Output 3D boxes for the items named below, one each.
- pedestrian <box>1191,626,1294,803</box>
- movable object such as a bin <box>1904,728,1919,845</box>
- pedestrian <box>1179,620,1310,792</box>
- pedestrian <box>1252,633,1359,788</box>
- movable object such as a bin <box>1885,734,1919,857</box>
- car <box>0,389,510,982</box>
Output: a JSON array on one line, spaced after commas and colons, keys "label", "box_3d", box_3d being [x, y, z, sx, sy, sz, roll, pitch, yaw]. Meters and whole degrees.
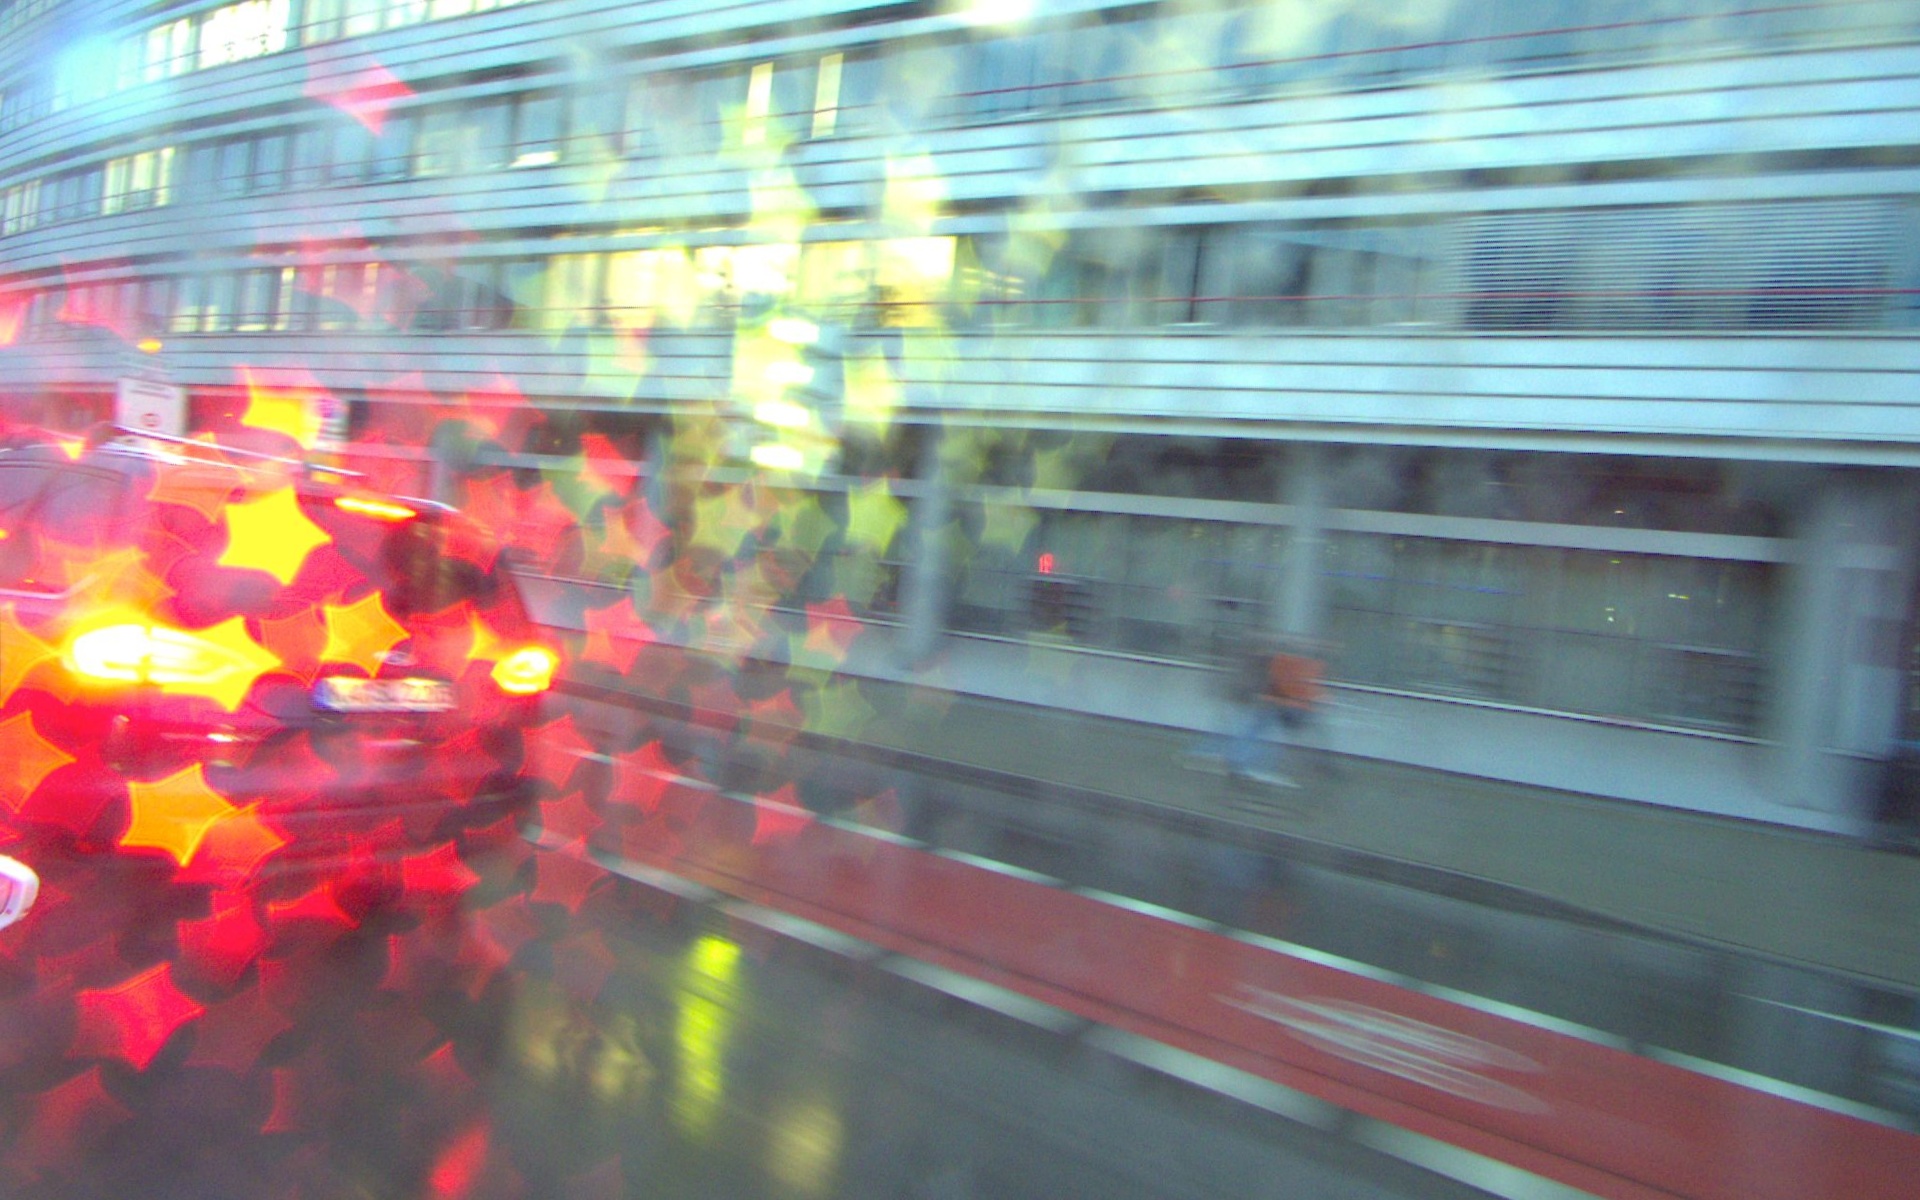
[{"label": "pedestrian", "box_3d": [2.941, 1.166, 10.462, 0.732, 1.703, 0.531, 7, 0, 31]}, {"label": "movable object such as a bin", "box_3d": [12.211, 2.336, 11.996, 1.060, 1.401, 0.730, 7, 2, 21]}, {"label": "pedestrian", "box_3d": [3.164, 1.144, 11.167, 1.051, 1.706, 0.794, 7, 0, 31]}, {"label": "pedestrian", "box_3d": [4.066, 1.276, 11.828, 0.887, 1.645, 0.727, 7, 0, 31]}, {"label": "movable object such as a bin", "box_3d": [11.370, 2.279, 11.344, 0.994, 1.311, 0.867, 7, 2, 21]}, {"label": "car", "box_3d": [-4.154, 0.148, 4.734, 3.934, 1.801, 1.676, 7, 0, 32]}]
